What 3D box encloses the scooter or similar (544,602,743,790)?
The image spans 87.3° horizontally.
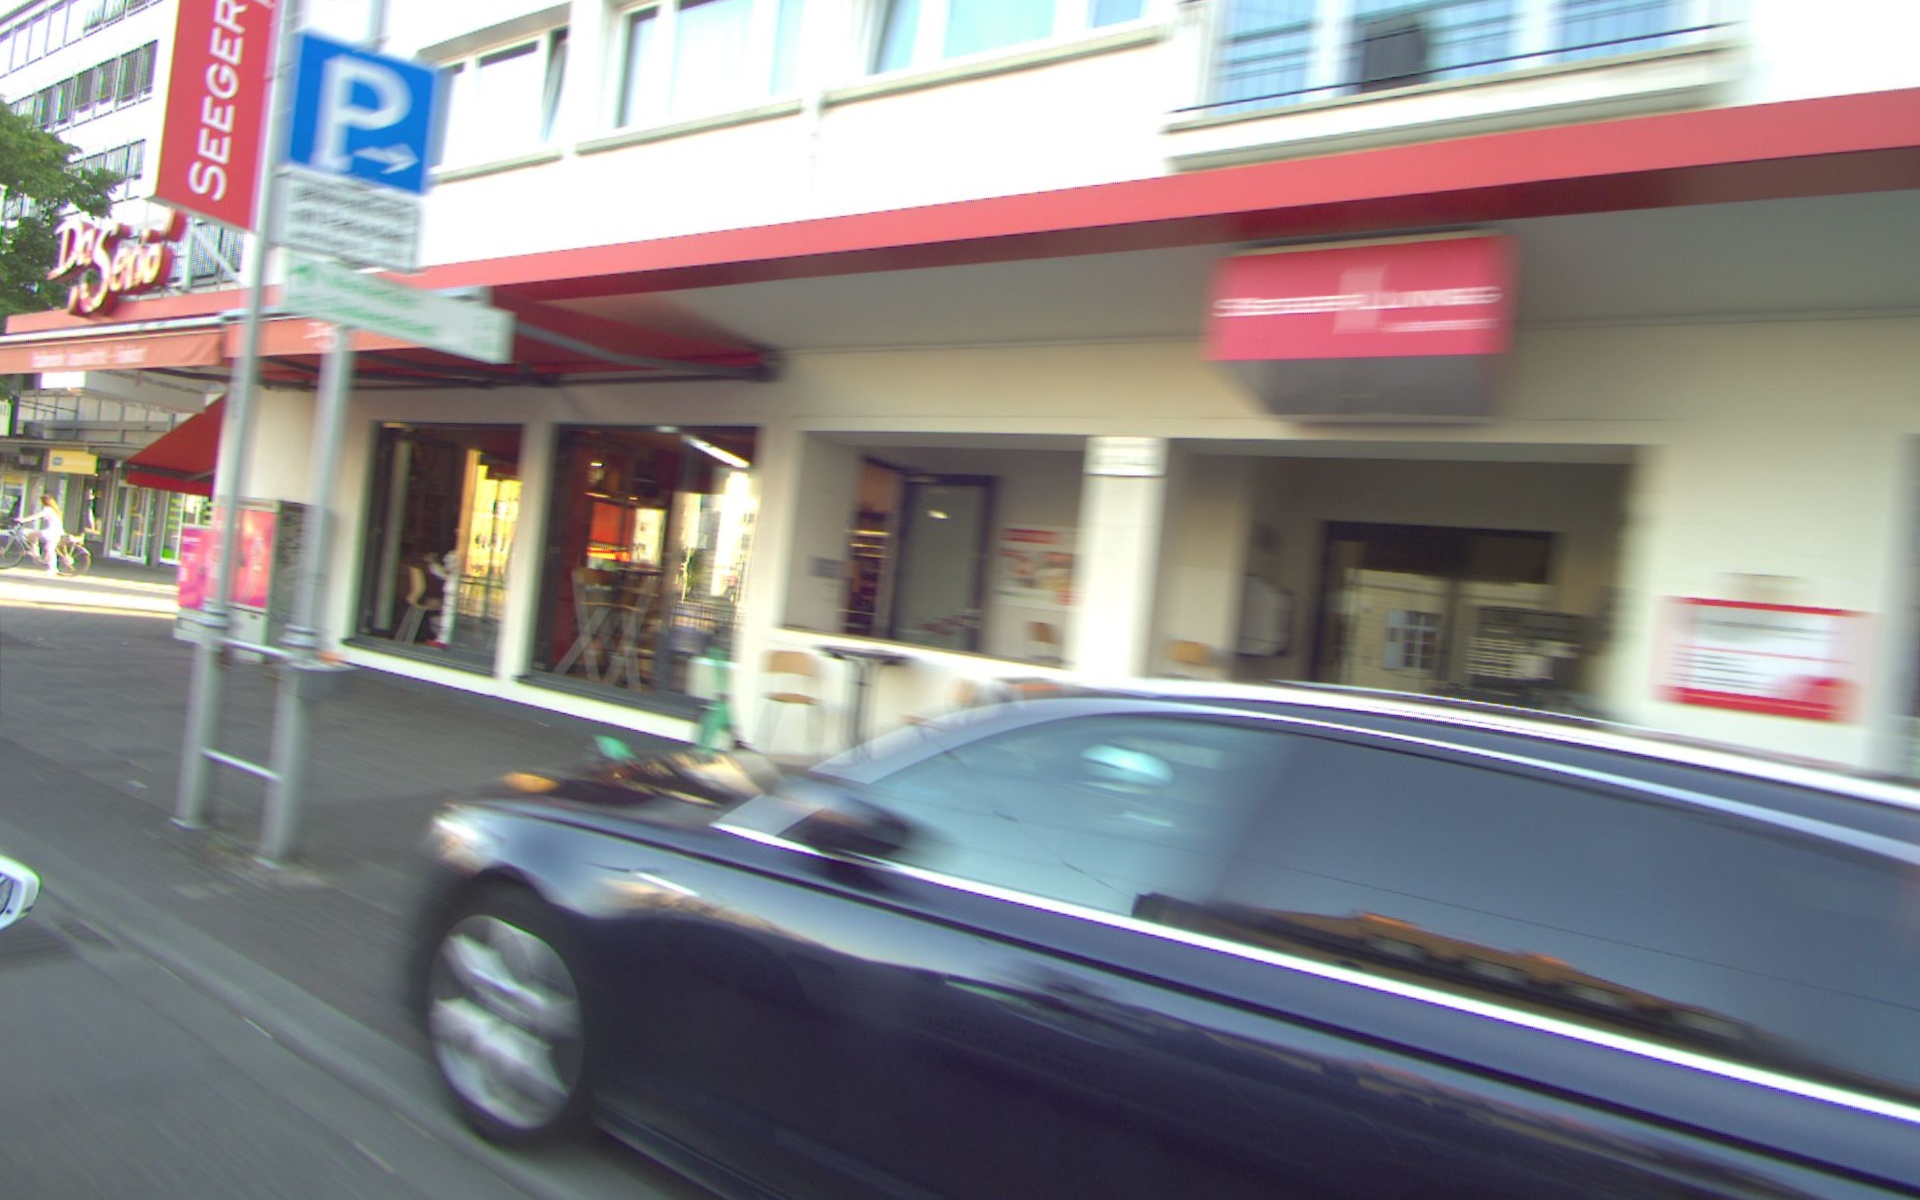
[{"bbox_3d":[-2.309,0.699,7.424,1.227,1.217,0.356,7,0,-8],"label":"scooter or similar"}]

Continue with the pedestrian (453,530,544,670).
[{"bbox_3d":[-4.795,0.007,10.465,0.495,1.375,0.523,7,0,19],"label":"pedestrian"}]

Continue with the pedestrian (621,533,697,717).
[{"bbox_3d":[-3.076,0.257,10.319,0.519,1.781,0.602,7,0,-14],"label":"pedestrian"}]

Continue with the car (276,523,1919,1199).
[{"bbox_3d":[0.400,0.809,2.609,4.607,1.531,1.737,7,1,31],"label":"car"}]

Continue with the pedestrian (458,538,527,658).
[{"bbox_3d":[-5.146,-0.019,11.103,0.497,1.231,0.521,7,0,-18],"label":"pedestrian"}]

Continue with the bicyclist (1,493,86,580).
[{"bbox_3d":[-19.479,-1.340,21.419,1.105,1.642,0.832,7,0,-36],"label":"bicyclist"}]

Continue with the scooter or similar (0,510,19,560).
[{"bbox_3d":[-25.267,-1.746,25.992,1.259,1.250,0.337,7,0,-18],"label":"scooter or similar"}]

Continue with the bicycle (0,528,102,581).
[{"bbox_3d":[-19.613,-0.989,21.351,1.996,0.891,0.832,8,-2,-37],"label":"bicycle"}]
